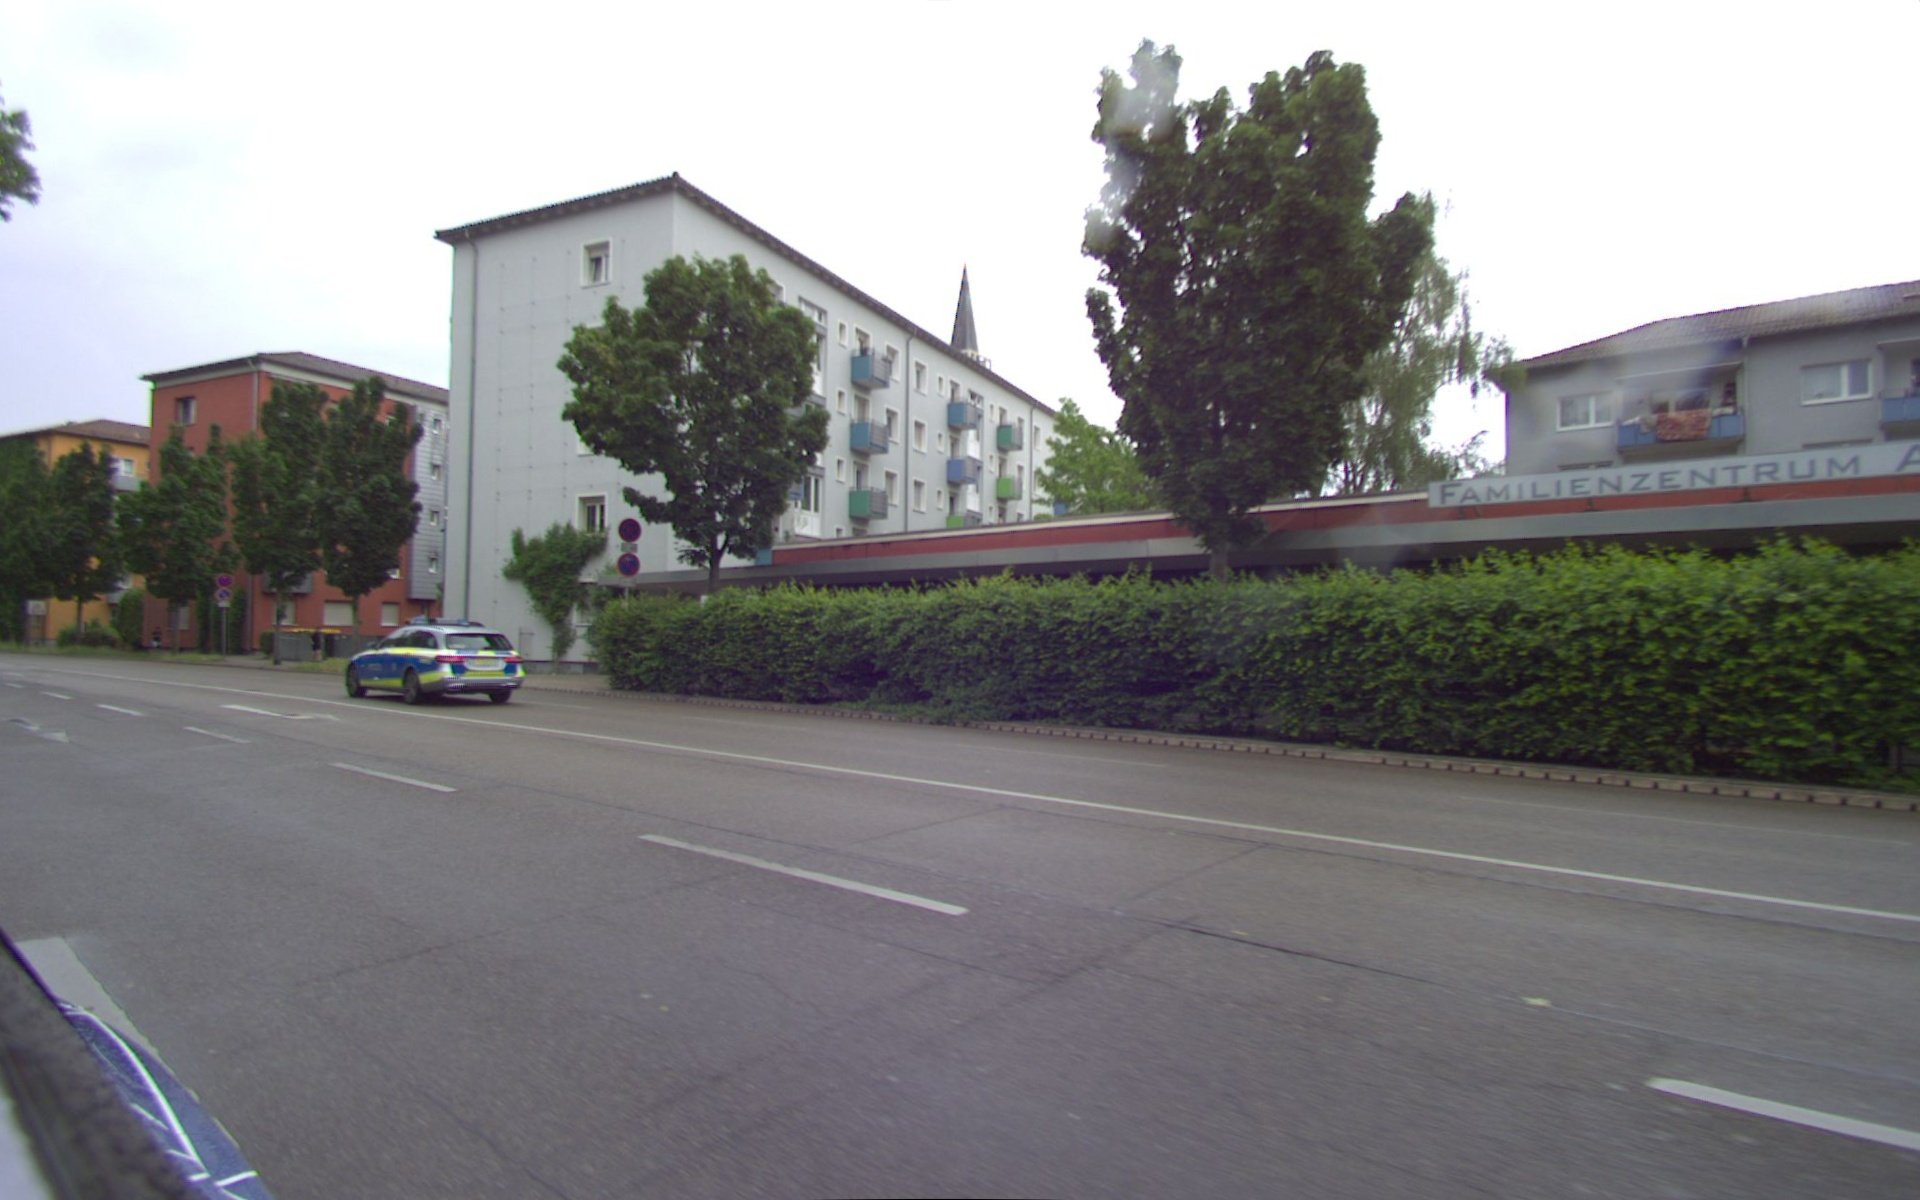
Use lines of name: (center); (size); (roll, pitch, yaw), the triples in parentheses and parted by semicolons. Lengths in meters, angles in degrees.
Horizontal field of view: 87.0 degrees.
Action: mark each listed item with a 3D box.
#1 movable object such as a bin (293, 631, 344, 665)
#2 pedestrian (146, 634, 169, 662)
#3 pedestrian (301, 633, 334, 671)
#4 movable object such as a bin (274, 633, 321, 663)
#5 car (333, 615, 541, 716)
movable object such as a bin: (-29.129, 2.167, 45.965); (2.082, 1.496, 1.205); (-2, -3, 35)
pedestrian: (-41.972, 2.498, 52.914); (0.833, 1.460, 0.666); (-1, -3, 32)
pedestrian: (-26.039, 2.106, 41.002); (1.066, 1.529, 0.687); (-1, -3, 32)
movable object such as a bin: (-30.903, 2.241, 47.219); (1.961, 1.341, 1.147); (-2, -3, 35)
car: (-10.498, 1.240, 20.163); (4.804, 1.763, 1.973); (-1, -3, 40)
